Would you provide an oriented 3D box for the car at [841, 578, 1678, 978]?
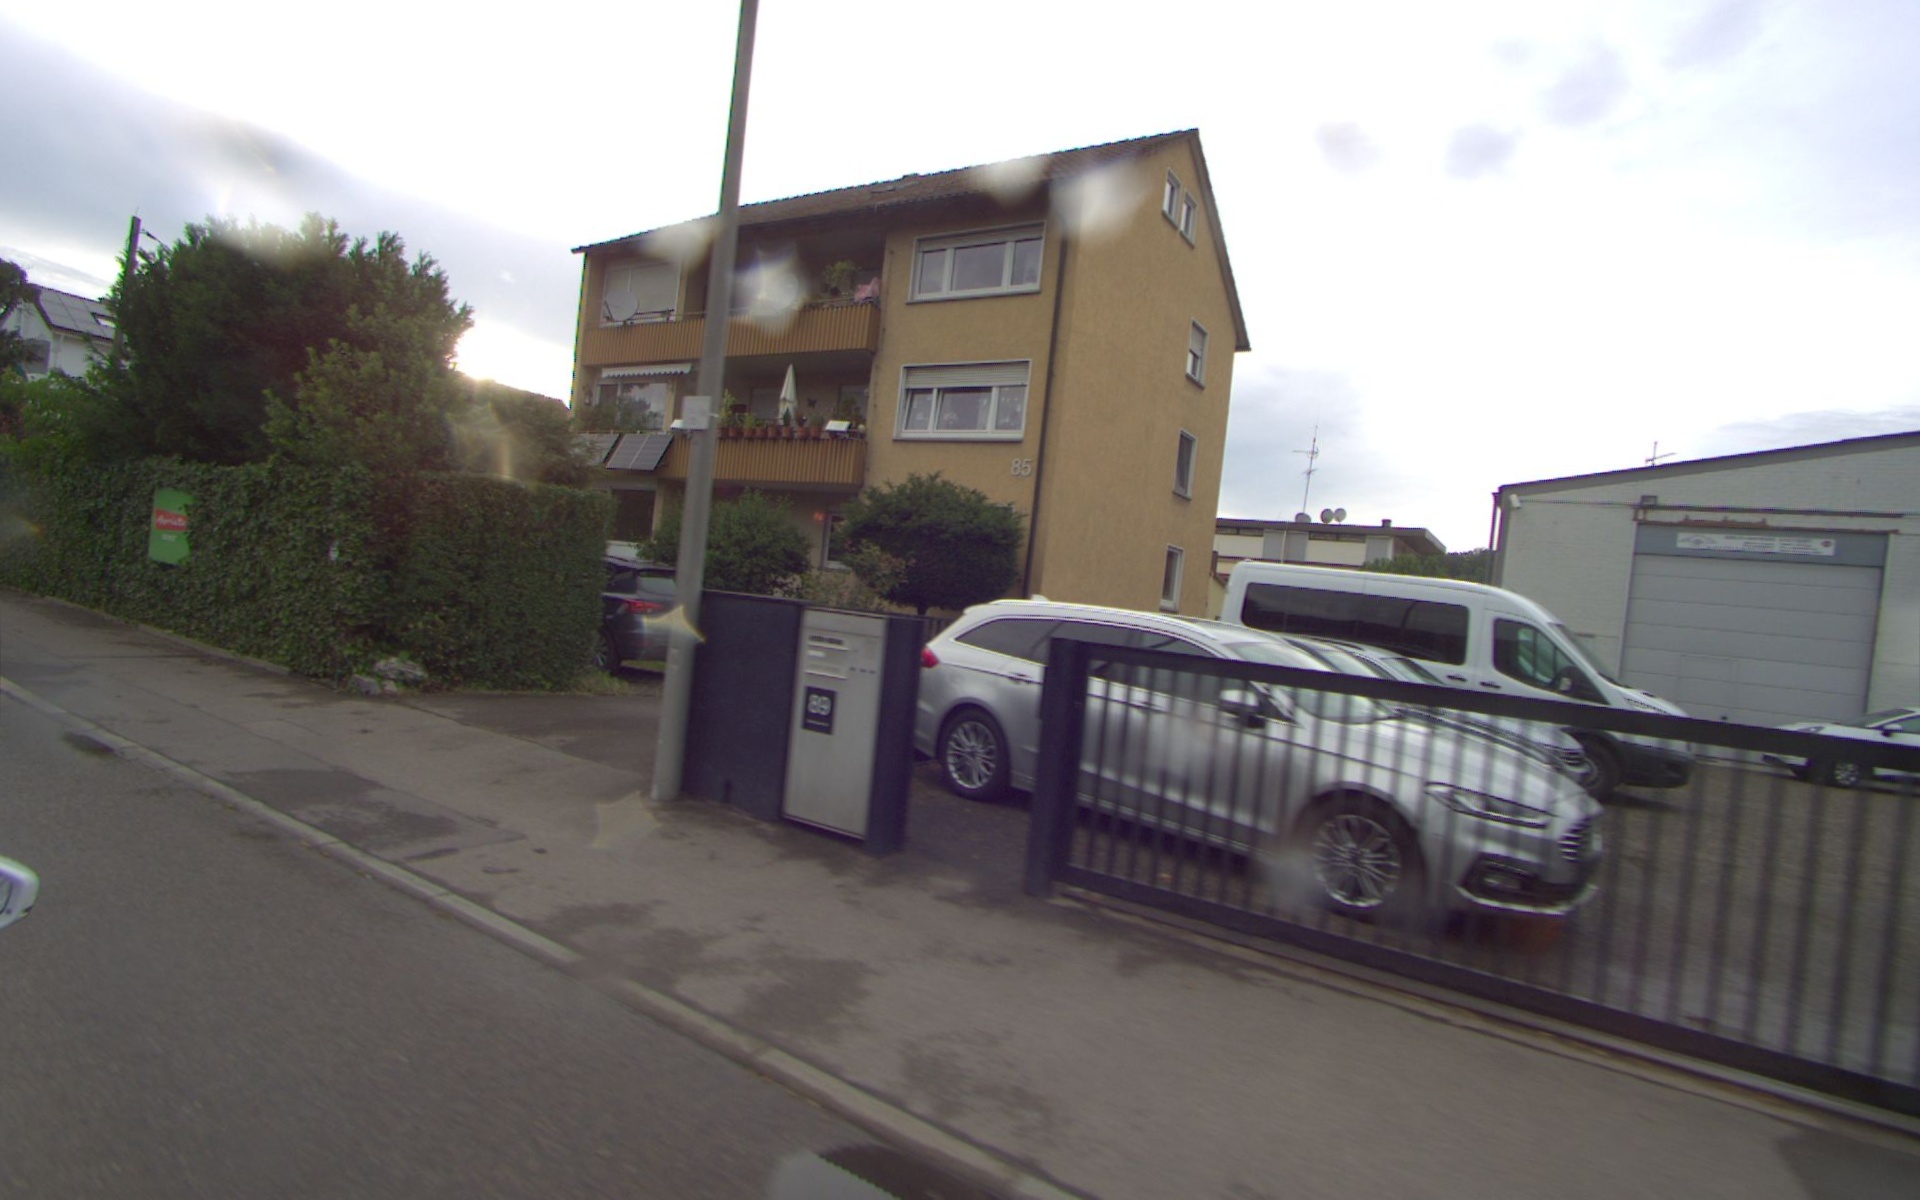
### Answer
[{"bbox_3d":[1.690,0.883,7.092,5.170,1.668,2.118,3,-4,44],"label":"car"}]

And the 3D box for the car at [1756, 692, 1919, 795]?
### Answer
[{"bbox_3d":[16.519,2.591,17.399,3.932,1.495,1.999,5,-3,29],"label":"car"}]

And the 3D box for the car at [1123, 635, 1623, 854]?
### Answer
[{"bbox_3d":[4.497,1.485,11.481,4.759,1.668,2.085,3,-4,44],"label":"car"}]

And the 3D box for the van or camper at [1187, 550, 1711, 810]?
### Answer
[{"bbox_3d":[6.364,0.868,13.628,5.931,2.712,2.058,4,-2,38],"label":"van or camper"}]

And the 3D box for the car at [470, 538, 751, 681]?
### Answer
[{"bbox_3d":[-4.871,0.086,13.799,3.942,1.564,1.662,4,-4,38],"label":"car"}]

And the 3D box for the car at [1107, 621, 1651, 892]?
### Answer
[{"bbox_3d":[3.604,1.233,9.115,4.047,1.669,1.880,3,-4,44],"label":"car"}]
